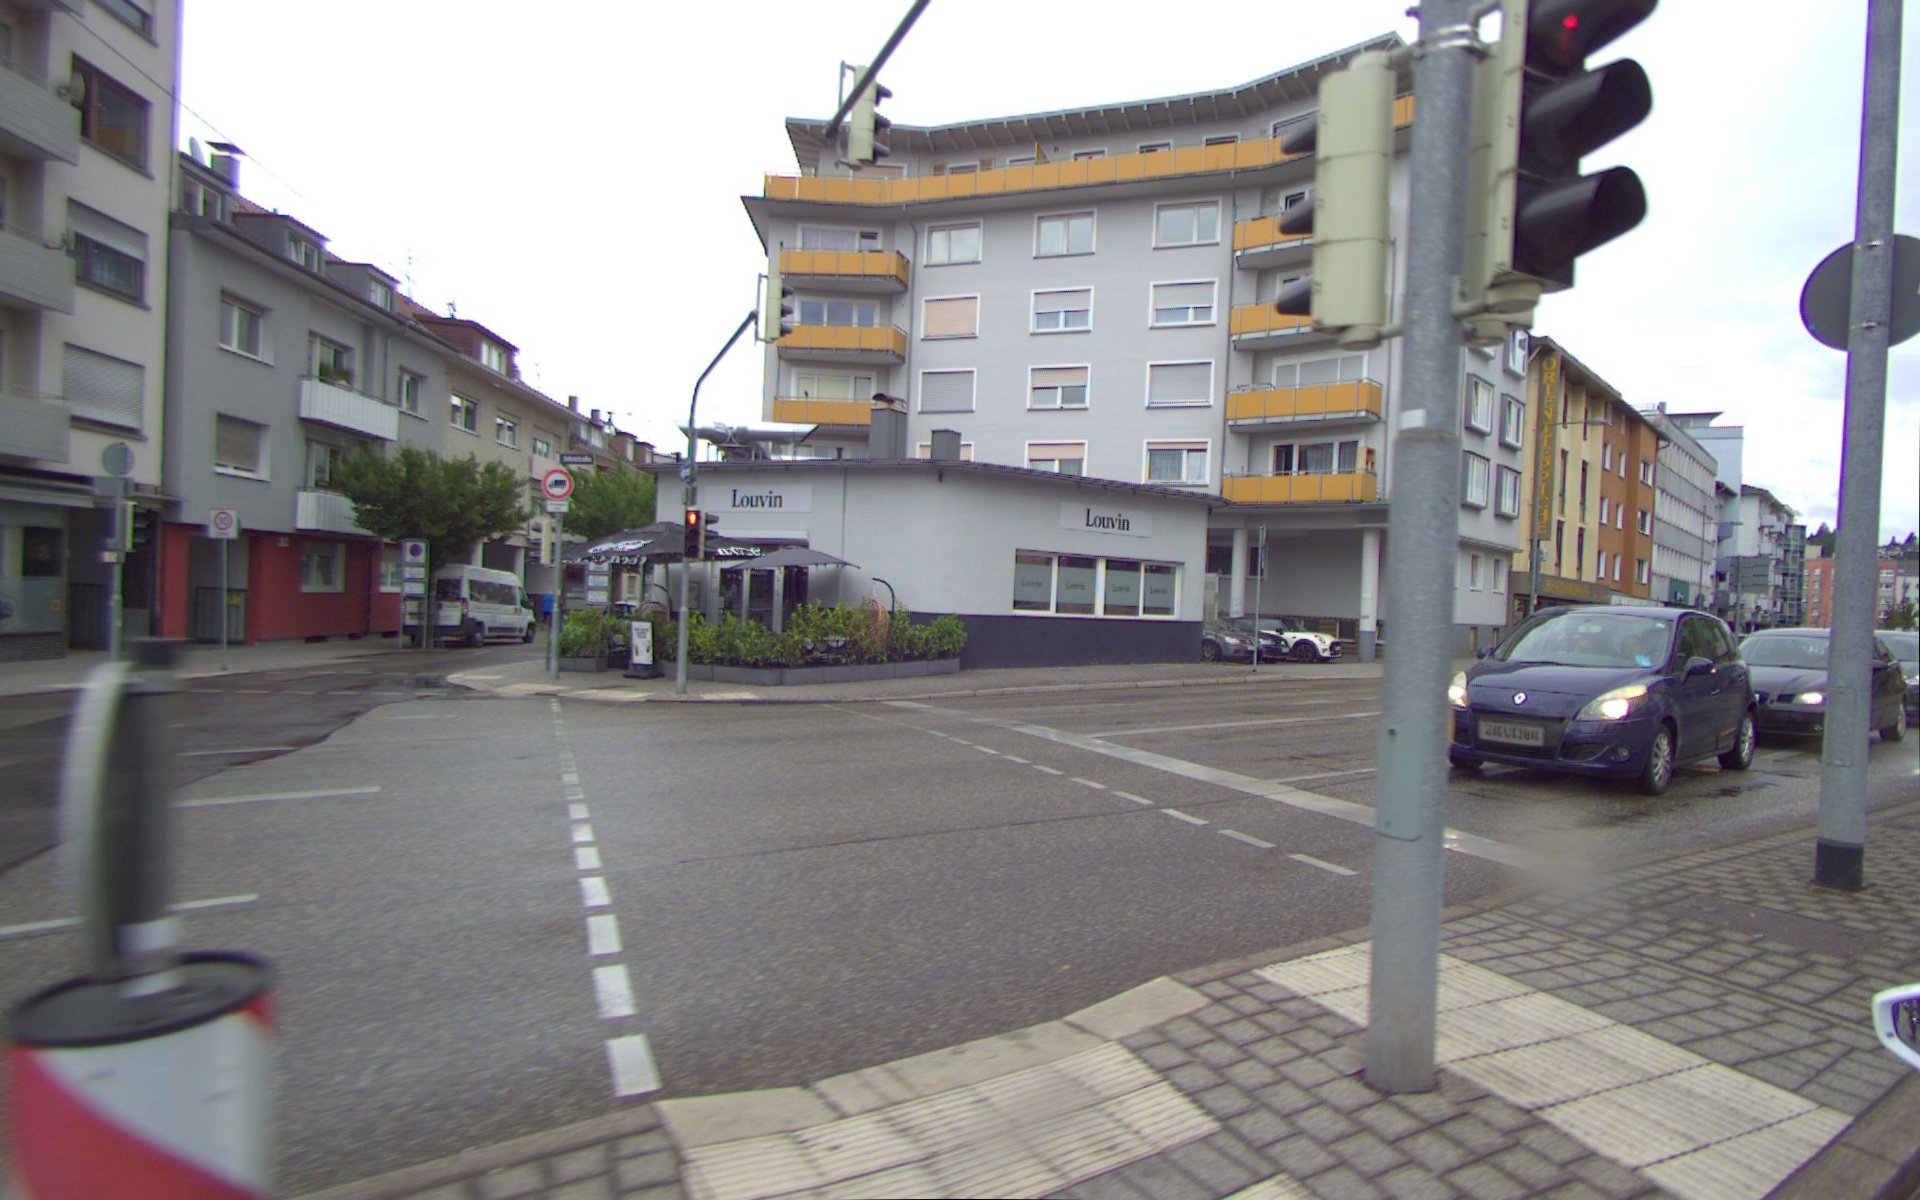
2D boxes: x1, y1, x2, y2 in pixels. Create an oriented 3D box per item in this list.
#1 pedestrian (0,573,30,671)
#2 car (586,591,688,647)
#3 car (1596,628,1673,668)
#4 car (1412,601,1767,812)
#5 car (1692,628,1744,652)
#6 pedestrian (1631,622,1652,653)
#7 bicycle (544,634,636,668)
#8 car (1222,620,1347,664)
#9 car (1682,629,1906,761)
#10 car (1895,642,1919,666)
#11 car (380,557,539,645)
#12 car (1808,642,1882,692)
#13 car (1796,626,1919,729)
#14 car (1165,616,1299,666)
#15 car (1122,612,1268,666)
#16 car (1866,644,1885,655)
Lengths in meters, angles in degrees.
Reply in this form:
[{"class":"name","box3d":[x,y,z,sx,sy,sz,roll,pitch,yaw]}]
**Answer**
[{"class":"pedestrian","box3d":[-16.936,0.374,17.706,0.596,1.672,0.524,4,1,-30]},{"class":"car","box3d":[-10.233,0.577,32.167,1.864,1.630,4.000,2,0,1]},{"class":"car","box3d":[26.627,1.896,39.613,4.084,1.384,1.711,4,-2,-45]},{"class":"car","box3d":[6.305,0.874,9.872,4.176,1.636,1.741,1,0,-40]},{"class":"car","box3d":[75.770,3.986,100.423,1.570,2.061,3.924,3,0,-44]},{"class":"pedestrian","box3d":[38.342,2.104,56.506,0.623,1.697,0.903,9,4,43]},{"class":"bicycle","box3d":[-9.734,1.340,26.501,2.169,0.819,0.619,2,0,-7]},{"class":"car","box3d":[10.447,1.341,32.466,3.583,1.356,1.487,-1,-2,43]},{"class":"car","box3d":[10.815,1.108,12.948,3.695,1.416,1.543,1,-1,-39]},{"class":"car","box3d":[70.863,4.022,74.668,1.804,1.621,3.695,5,2,45]},{"class":"car","box3d":[-15.974,0.045,32.466,2.359,2.543,5.258,2,0,1]},{"class":"car","box3d":[29.186,2.171,33.195,1.713,1.459,4.391,2,-1,41]},{"class":"car","box3d":[15.384,1.240,16.856,3.963,1.472,1.628,2,0,-44]},{"class":"car","box3d":[8.375,1.252,31.133,1.628,1.439,3.719,2,-3,-45]},{"class":"car","box3d":[6.801,1.122,29.301,1.786,1.439,3.774,5,-4,-45]},{"class":"car","box3d":[121.046,6.550,132.798,1.702,1.442,4.140,0,-2,44]}]
